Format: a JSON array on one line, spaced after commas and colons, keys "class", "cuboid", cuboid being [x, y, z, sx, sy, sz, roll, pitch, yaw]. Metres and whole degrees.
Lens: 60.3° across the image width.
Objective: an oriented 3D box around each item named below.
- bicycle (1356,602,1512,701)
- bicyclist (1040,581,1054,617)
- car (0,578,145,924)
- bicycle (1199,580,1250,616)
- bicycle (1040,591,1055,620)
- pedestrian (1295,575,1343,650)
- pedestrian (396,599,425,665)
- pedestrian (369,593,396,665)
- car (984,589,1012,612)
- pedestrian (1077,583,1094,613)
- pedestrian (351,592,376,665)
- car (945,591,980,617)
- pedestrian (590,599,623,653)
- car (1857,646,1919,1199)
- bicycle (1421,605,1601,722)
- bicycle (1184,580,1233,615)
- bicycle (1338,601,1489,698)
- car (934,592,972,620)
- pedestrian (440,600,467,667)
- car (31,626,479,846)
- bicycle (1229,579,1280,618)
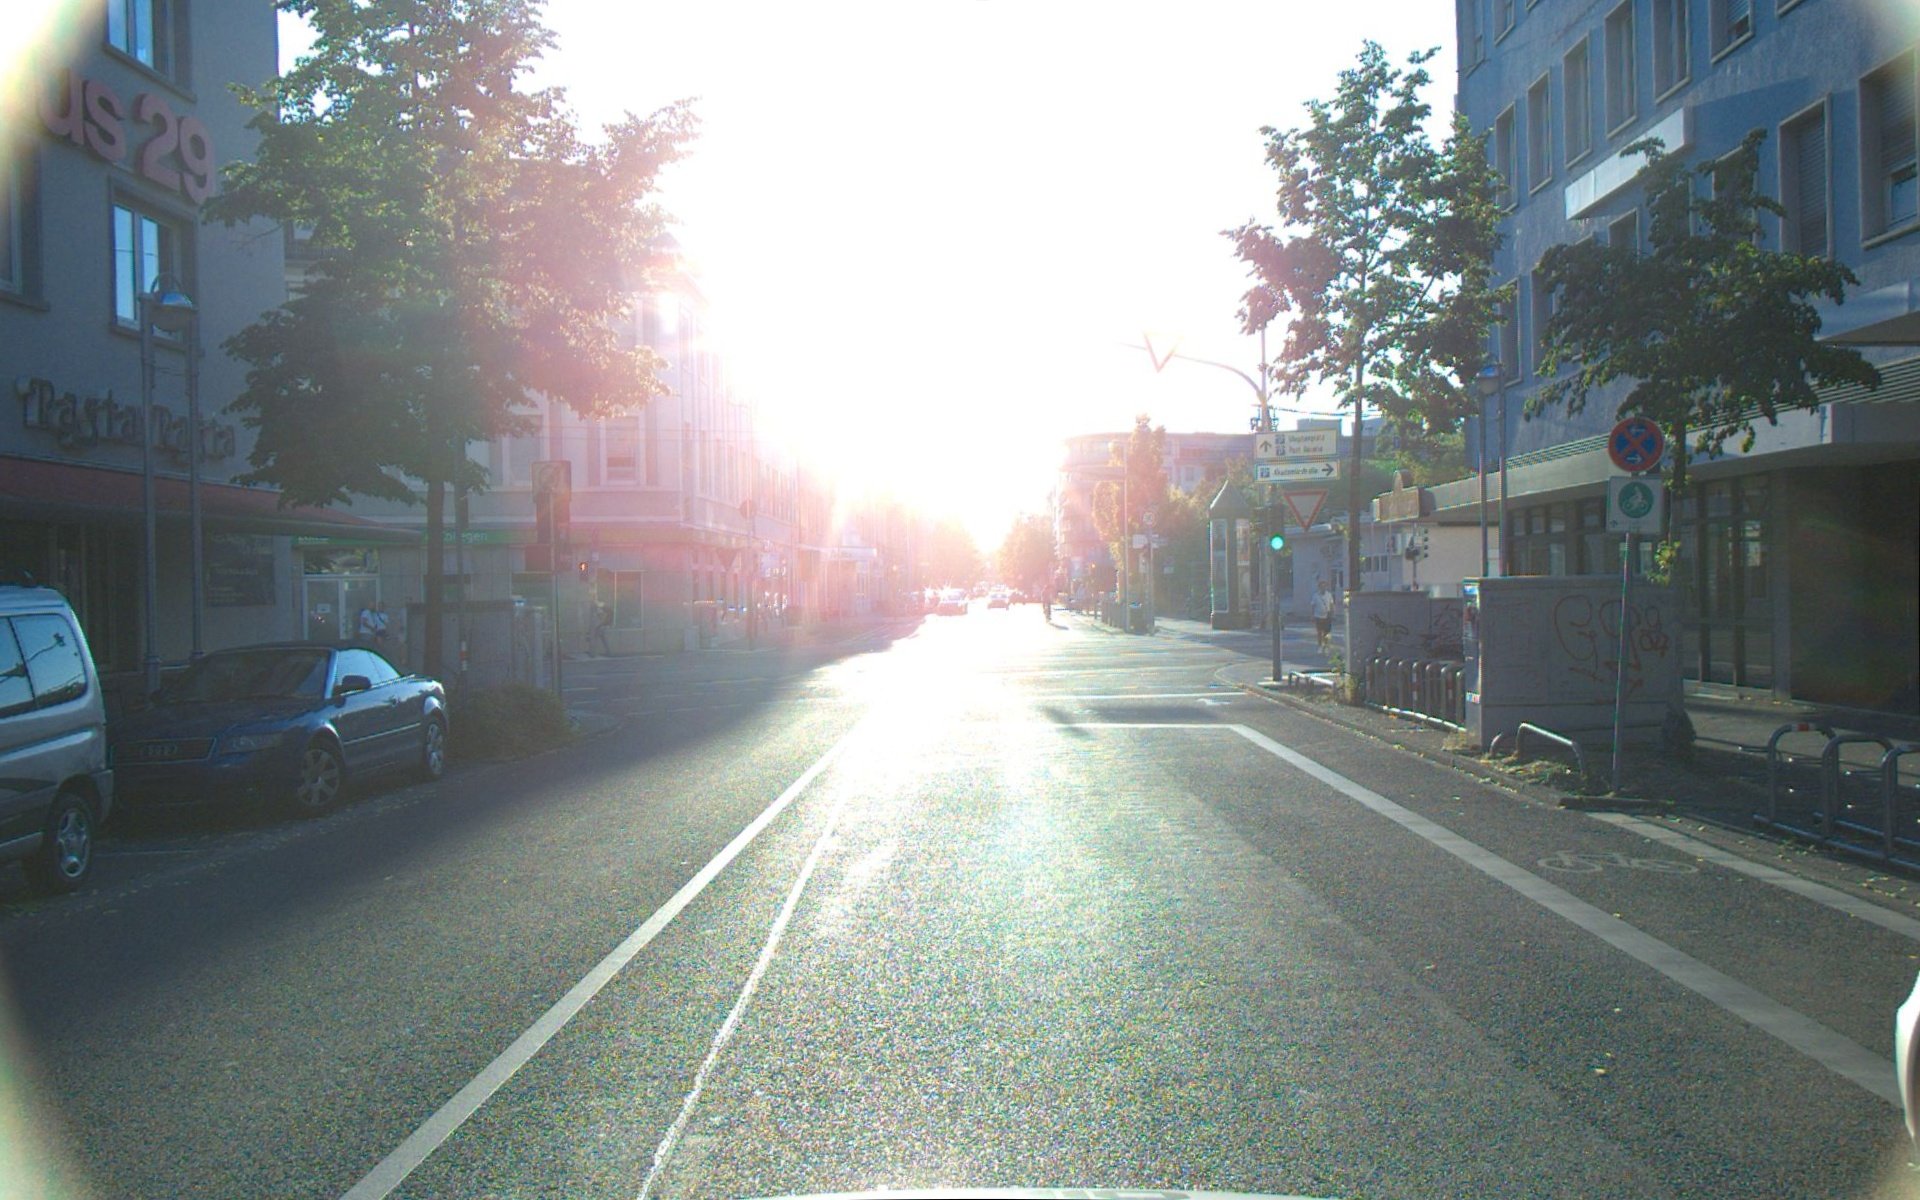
[{"class": "bicycle", "cuboid": [6.196, 0.667, 21.660, 1.872, 1.224, 0.470, -1, 0, 3]}, {"class": "bicyclist", "cuboid": [4.352, -0.051, 82.463, 0.664, 1.737, 0.669, -2, 0, 3]}, {"class": "car", "cuboid": [-5.995, 0.835, 8.213, 1.876, 1.818, 4.147, -2, 0, -2]}, {"class": "bicycle", "cuboid": [11.915, -0.072, 74.504, 2.176, 1.549, 0.681, -2, 0, 2]}, {"class": "bicycle", "cuboid": [4.373, 0.268, 82.569, 0.664, 1.426, 2.231, -2, 0, 3]}, {"class": "pedestrian", "cuboid": [8.724, 0.301, 40.191, 0.789, 1.756, 0.992, -3, -1, 29]}, {"class": "pedestrian", "cuboid": [-15.099, 0.867, 45.411, 0.687, 1.775, 0.636, -2, 0, -21]}, {"class": "pedestrian", "cuboid": [-15.852, 0.795, 45.389, 0.523, 1.962, 0.632, -2, 0, -34]}, {"class": "car", "cuboid": [3.127, 0.028, 135.896, 2.256, 1.707, 5.533, -2, 0, 2]}, {"class": "pedestrian", "cuboid": [7.875, -0.123, 103.455, 0.787, 1.817, 0.994, -3, -1, 15]}, {"class": "pedestrian", "cuboid": [-16.199, 0.773, 44.921, 0.490, 1.962, 0.569, -2, 0, -33]}, {"class": "car", "cuboid": [0.212, 0.247, 115.732, 2.256, 1.707, 5.533, -2, 0, 2]}, {"class": "pedestrian", "cuboid": [-10.466, 0.768, 48.963, 0.855, 1.575, 0.695, -2, 0, -21]}, {"class": "car", "cuboid": [3.171, 0.847, 1.966, 1.763, 1.402, 4.552, 0, 0, 0]}, {"class": "bicycle", "cuboid": [6.125, 0.689, 18.391, 1.878, 1.224, 0.469, -2, 0, -10]}, {"class": "bicycle", "cuboid": [11.661, -0.129, 77.656, 2.175, 1.549, 0.681, -2, 0, 6]}, {"class": "bicycle", "cuboid": [6.062, 0.658, 22.157, 1.872, 1.224, 0.470, -1, 0, 3]}, {"class": "car", "cuboid": [-0.444, 0.353, 108.152, 2.256, 1.707, 5.533, -2, 0, 2]}, {"class": "pedestrian", "cuboid": [-13.940, 0.916, 45.526, 0.636, 1.809, 0.668, -2, 0, -20]}, {"class": "car", "cuboid": [-5.760, 1.027, 14.206, 1.875, 1.410, 4.382, -2, 0, 1]}, {"class": "bicycle", "cuboid": [11.996, -0.063, 67.398, 1.944, 1.549, 0.479, -2, 0, 2]}]
